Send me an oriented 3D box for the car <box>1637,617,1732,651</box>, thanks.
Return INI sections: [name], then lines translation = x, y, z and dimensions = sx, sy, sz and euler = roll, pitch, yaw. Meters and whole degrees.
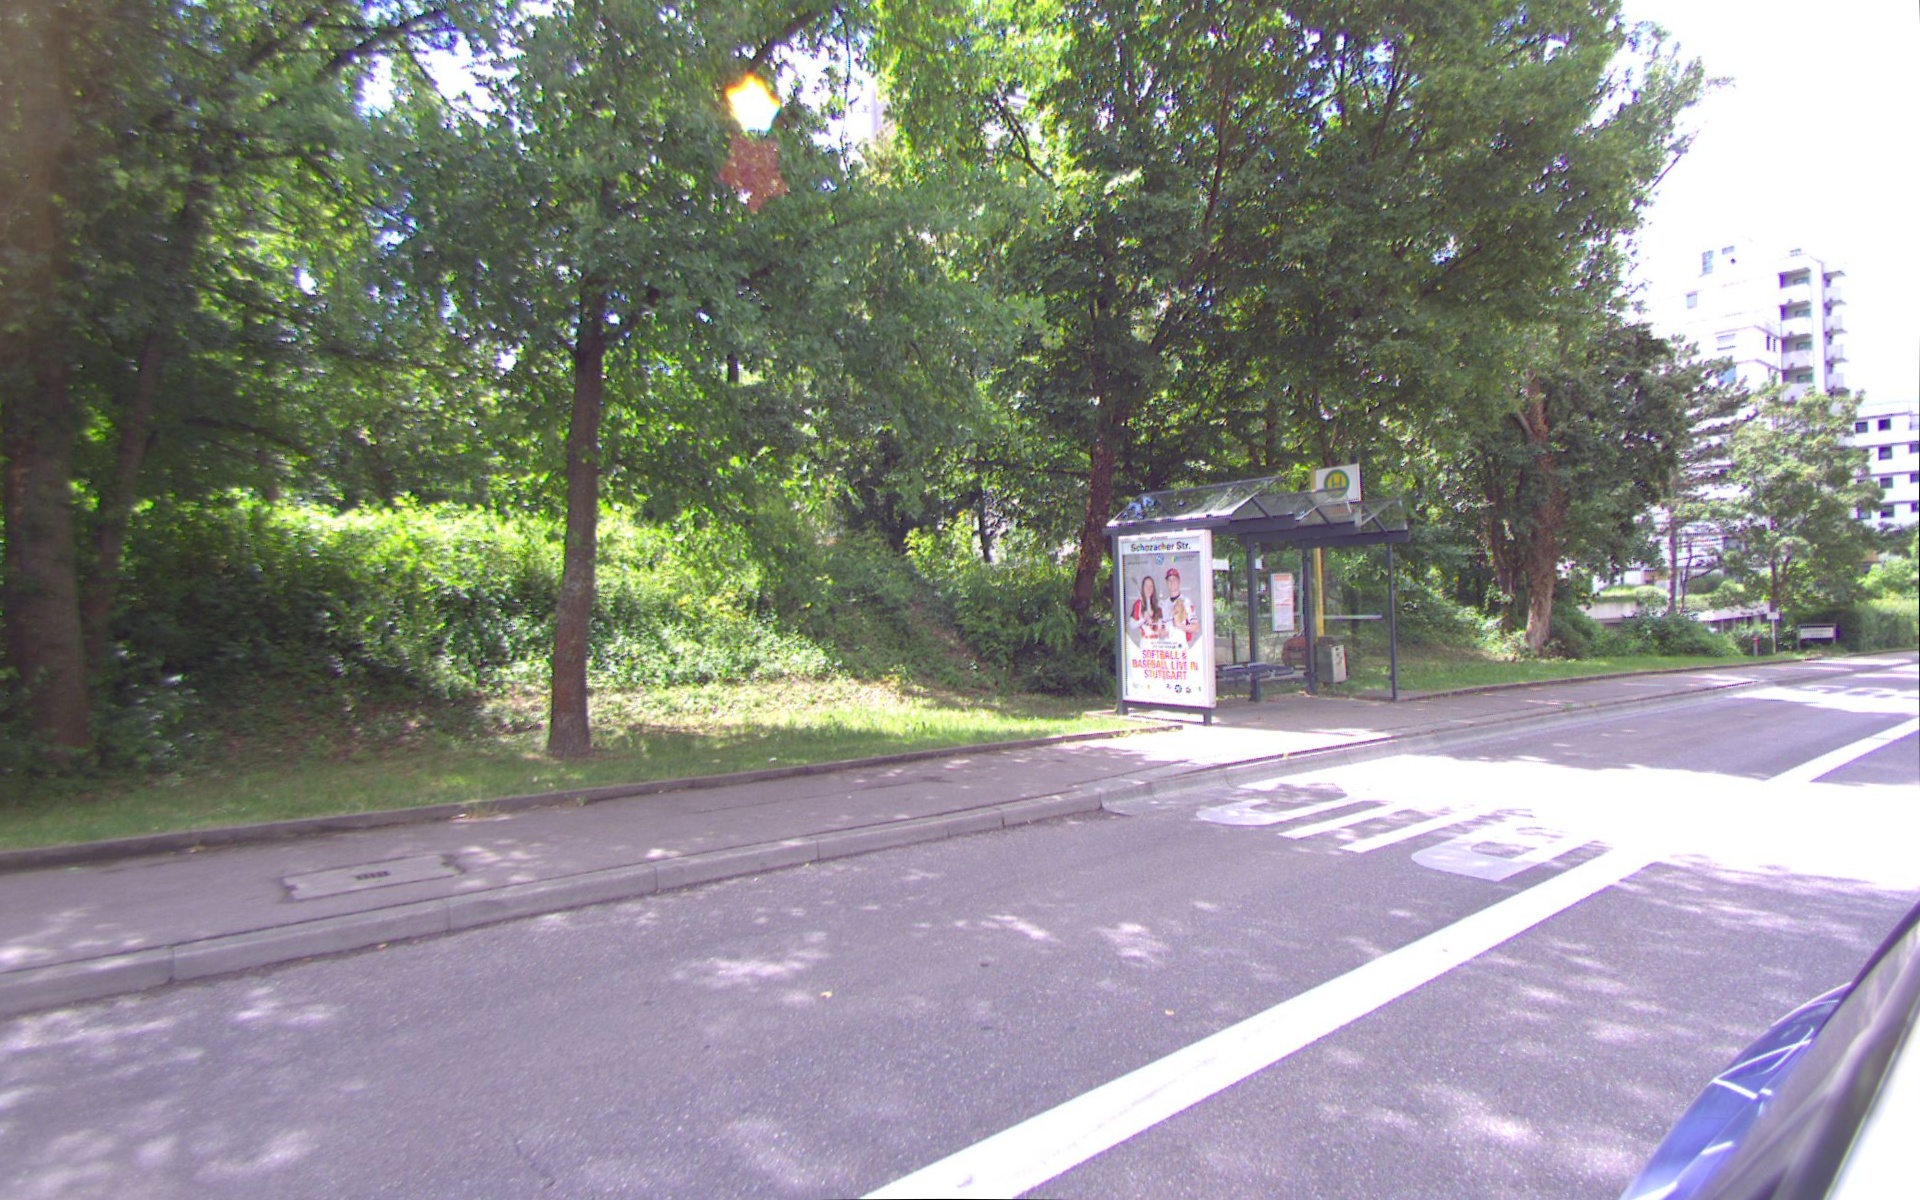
[car]
translation = 46.533, 2.159, 65.072
dimensions = 1.961, 2.039, 4.551
euler = 0, 0, -33
